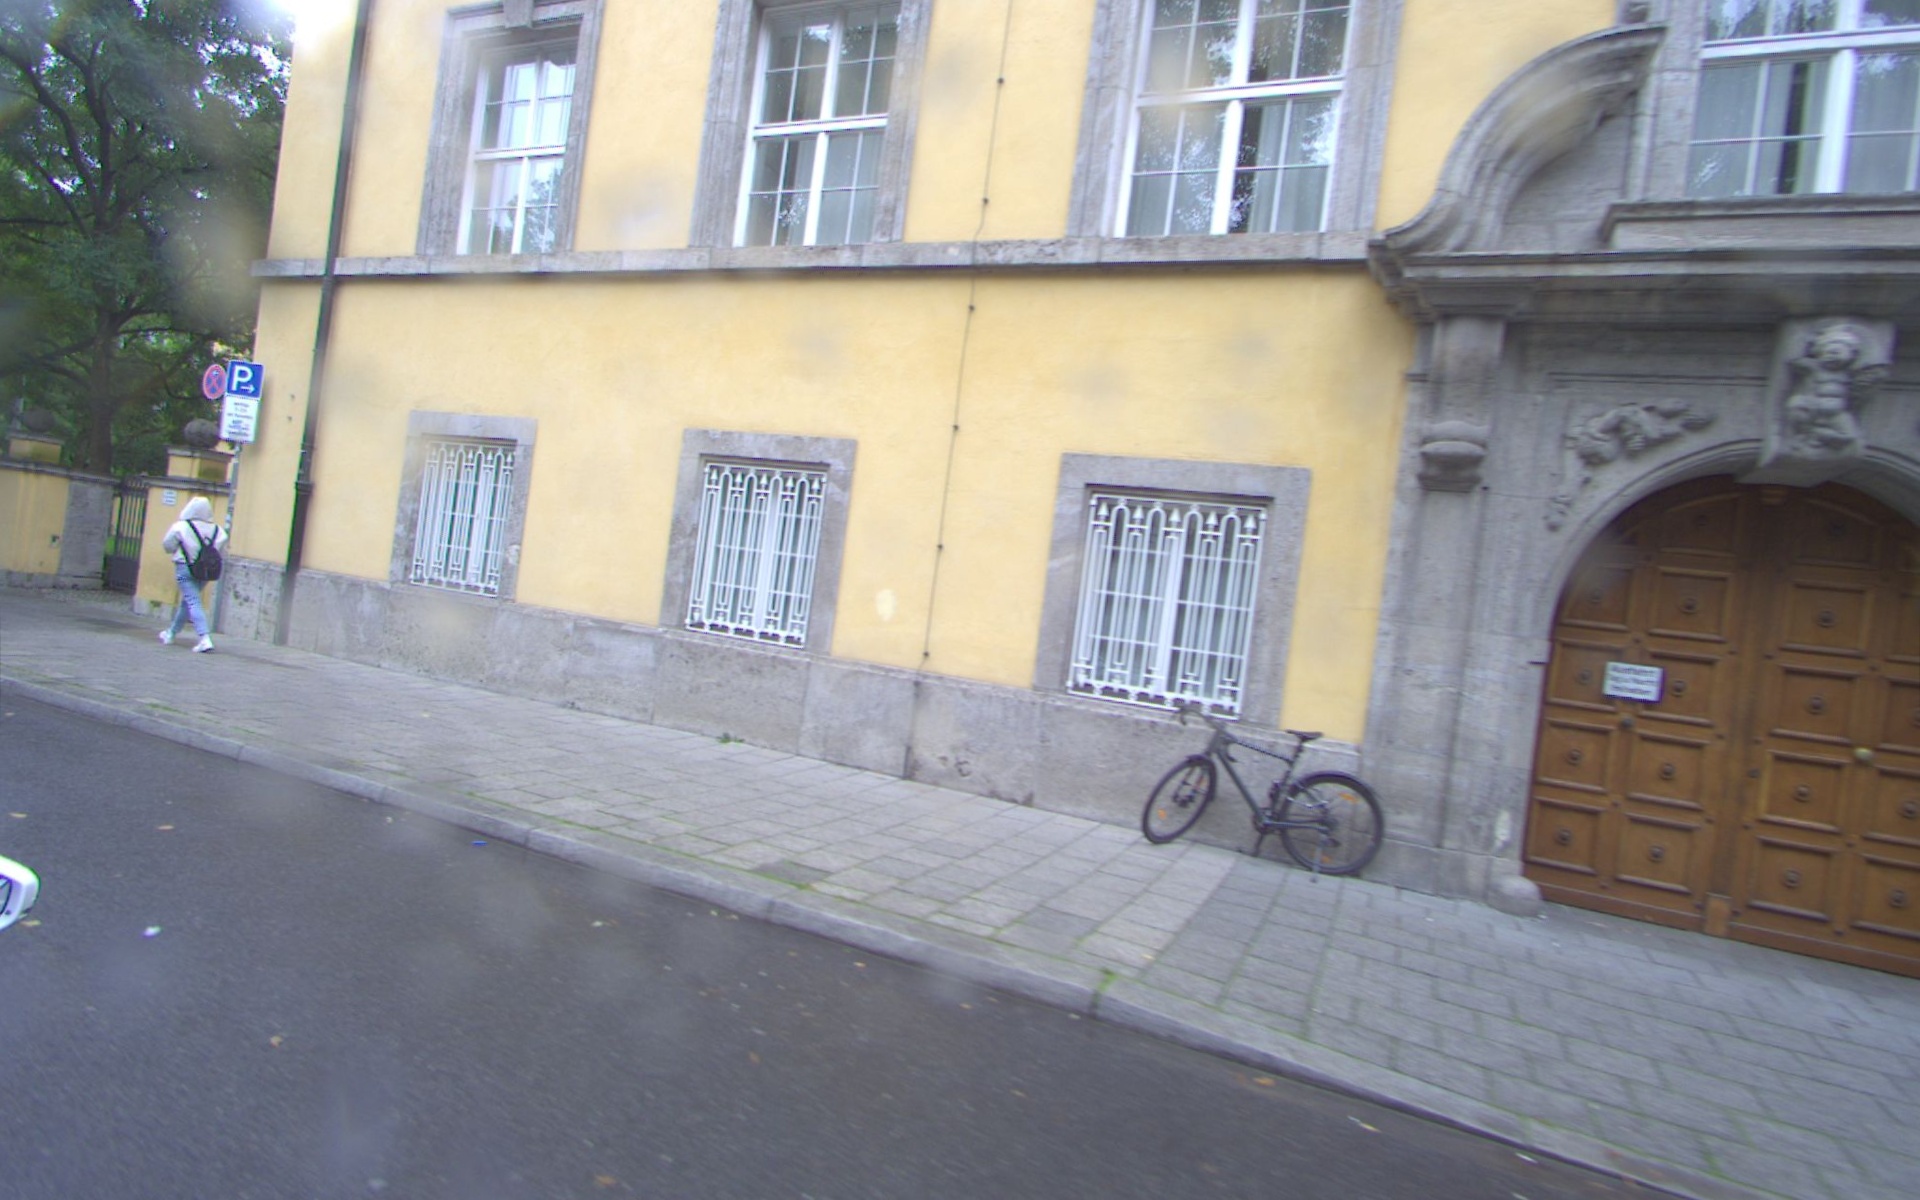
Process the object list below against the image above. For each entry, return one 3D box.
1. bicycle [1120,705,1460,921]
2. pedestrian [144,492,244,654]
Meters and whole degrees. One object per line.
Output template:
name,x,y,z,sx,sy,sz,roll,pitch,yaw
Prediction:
bicycle,2.211,1.374,6.857,2.020,1.018,0.682,6,0,24
pedestrian,-8.251,-0.280,10.842,0.561,1.659,0.561,7,2,24
